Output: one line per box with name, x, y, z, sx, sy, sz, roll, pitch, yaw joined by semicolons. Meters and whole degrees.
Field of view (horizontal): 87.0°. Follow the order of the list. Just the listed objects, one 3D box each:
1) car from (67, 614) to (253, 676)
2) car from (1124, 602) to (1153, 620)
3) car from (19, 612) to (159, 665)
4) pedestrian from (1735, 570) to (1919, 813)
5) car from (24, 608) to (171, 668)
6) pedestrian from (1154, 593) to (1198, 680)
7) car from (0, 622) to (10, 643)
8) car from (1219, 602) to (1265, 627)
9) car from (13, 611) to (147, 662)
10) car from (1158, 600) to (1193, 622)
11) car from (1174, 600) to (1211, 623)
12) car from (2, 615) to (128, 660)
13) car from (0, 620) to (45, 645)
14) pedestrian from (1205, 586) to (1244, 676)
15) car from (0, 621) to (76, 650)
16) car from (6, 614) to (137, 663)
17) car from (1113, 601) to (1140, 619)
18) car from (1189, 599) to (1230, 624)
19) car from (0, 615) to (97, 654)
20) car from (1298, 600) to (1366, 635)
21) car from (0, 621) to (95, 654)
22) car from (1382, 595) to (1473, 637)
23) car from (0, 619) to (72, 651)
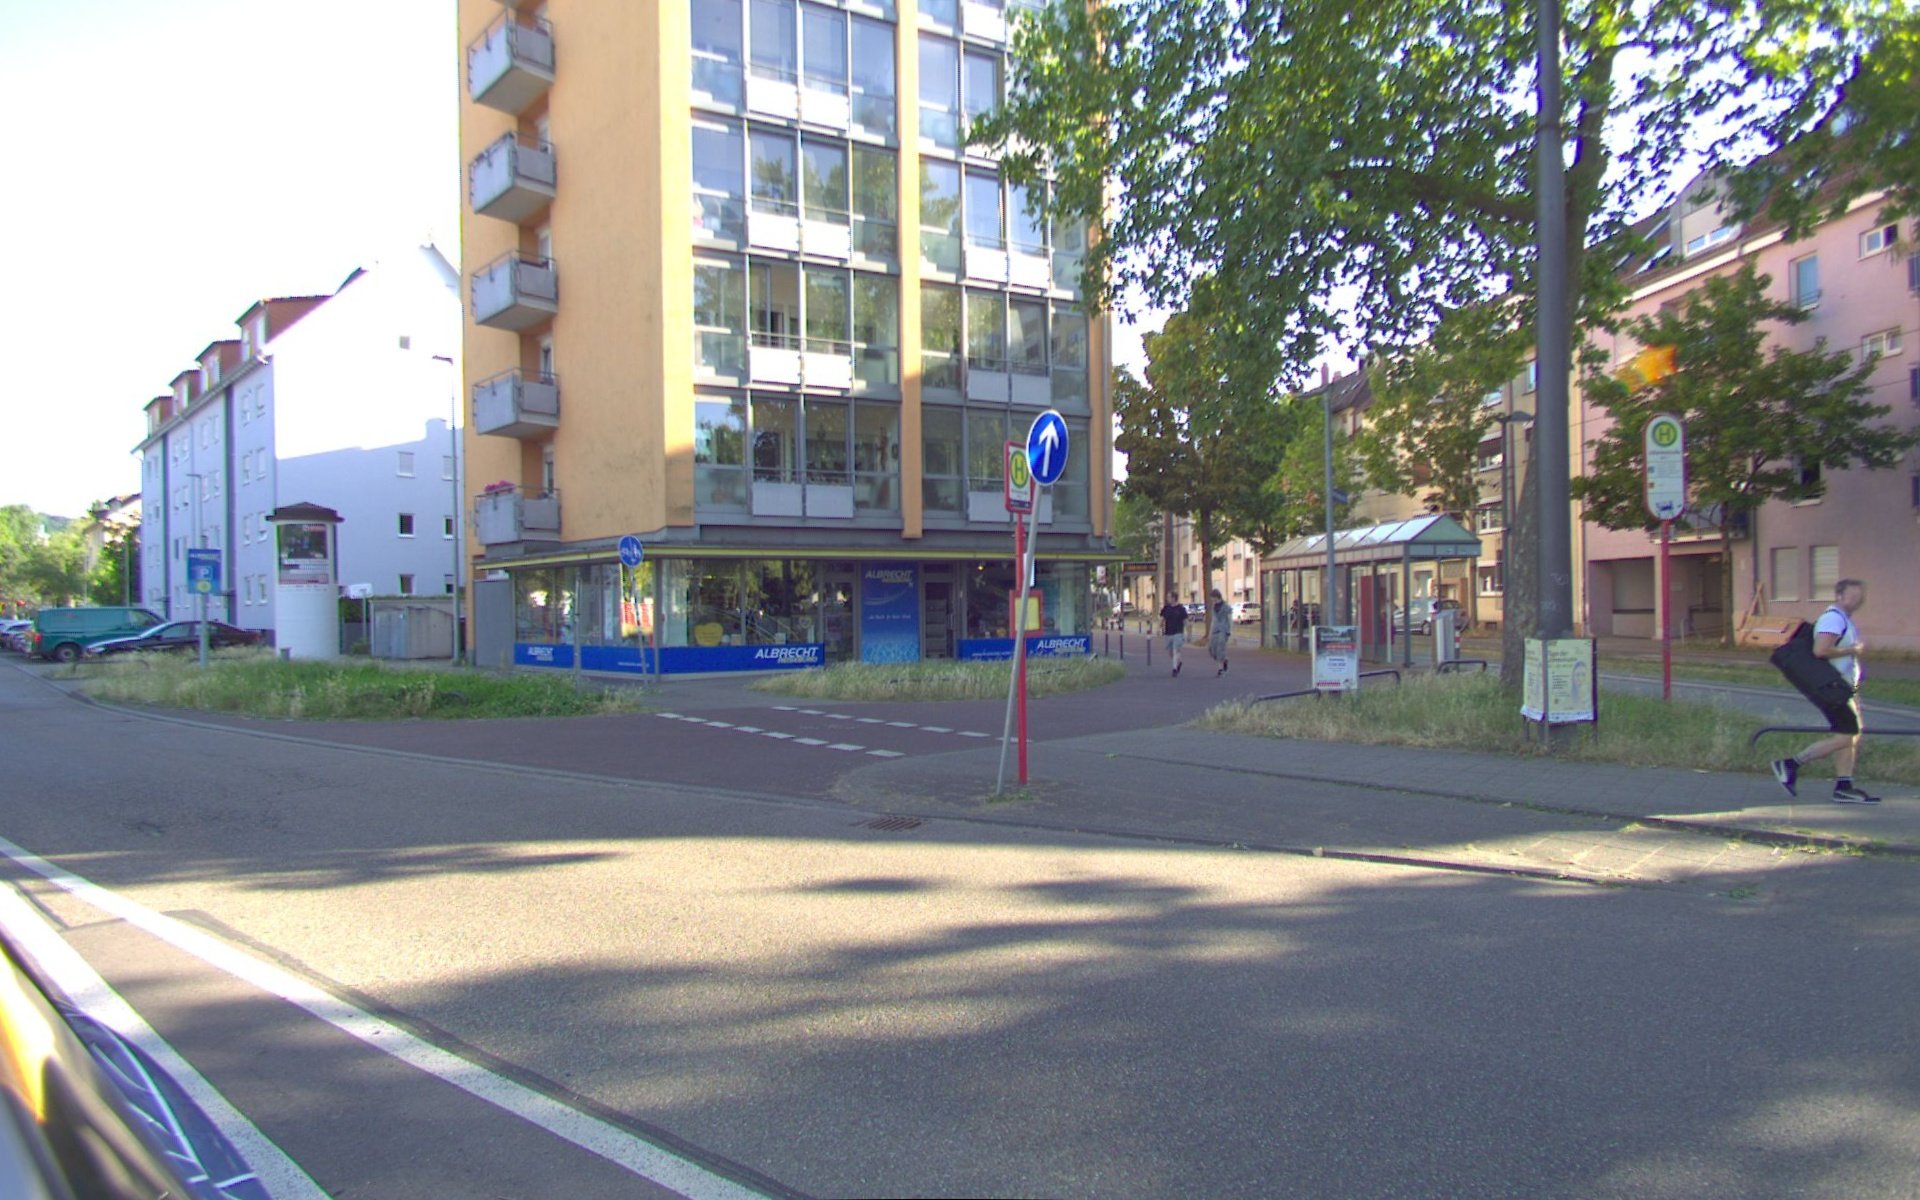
car;-24.488;1.317;31.109;4.361;1.674;2.003;-1;0;-41
car;17.621;1.071;100.084;1.911;1.719;4.003;-1;0;-3
car;-33.330;1.408;38.783;3.941;1.829;2.001;-1;0;-44
pedestrian;6.814;0.659;7.804;1.080;1.750;0.897;-1;0;20
car;-31.426;1.328;36.938;2.001;1.962;3.942;0;0;44
pedestrian;4.450;0.734;20.849;0.803;1.763;0.538;-1;0;6
car;-74.941;2.506;77.254;3.490;1.585;1.868;-1;0;-44
car;18.985;0.963;68.261;1.741;1.588;4.049;-1;0;-3
car;-35.328;1.422;40.687;3.941;1.829;2.001;-1;0;-44
car;18.257;0.908;86.010;1.830;1.719;4.170;-1;0;-3
car;18.465;0.897;80.556;1.771;1.719;4.170;-1;0;-3
car;-39.033;1.591;44.187;4.016;1.765;1.900;-1;0;-44
car;-63.685;2.185;67.274;4.199;1.585;1.867;-1;0;-44
pedestrian;5.264;0.608;20.159;0.622;1.763;0.689;-1;0;6
car;-55.853;2.125;60.655;4.199;1.585;1.867;-1;0;-44
car;-37.065;1.545;42.267;4.003;1.829;1.938;-1;0;-44
car;17.373;1.041;105.662;1.911;1.719;4.372;-1;0;-3
car;18.523;0.842;75.366;1.808;1.719;4.059;-1;0;-3
car;-46.318;1.720;51.130;4.061;1.785;1.758;-1;0;-44
car;19.719;0.902;53.807;1.911;1.719;4.115;-1;0;-3
car;-48.320;1.944;53.223;4.199;1.585;1.867;-1;0;-44
car;20.542;0.661;44.638;1.911;1.719;4.115;-1;0;-3
car;-55.987;2.095;60.708;4.016;1.765;1.900;-1;0;-44
